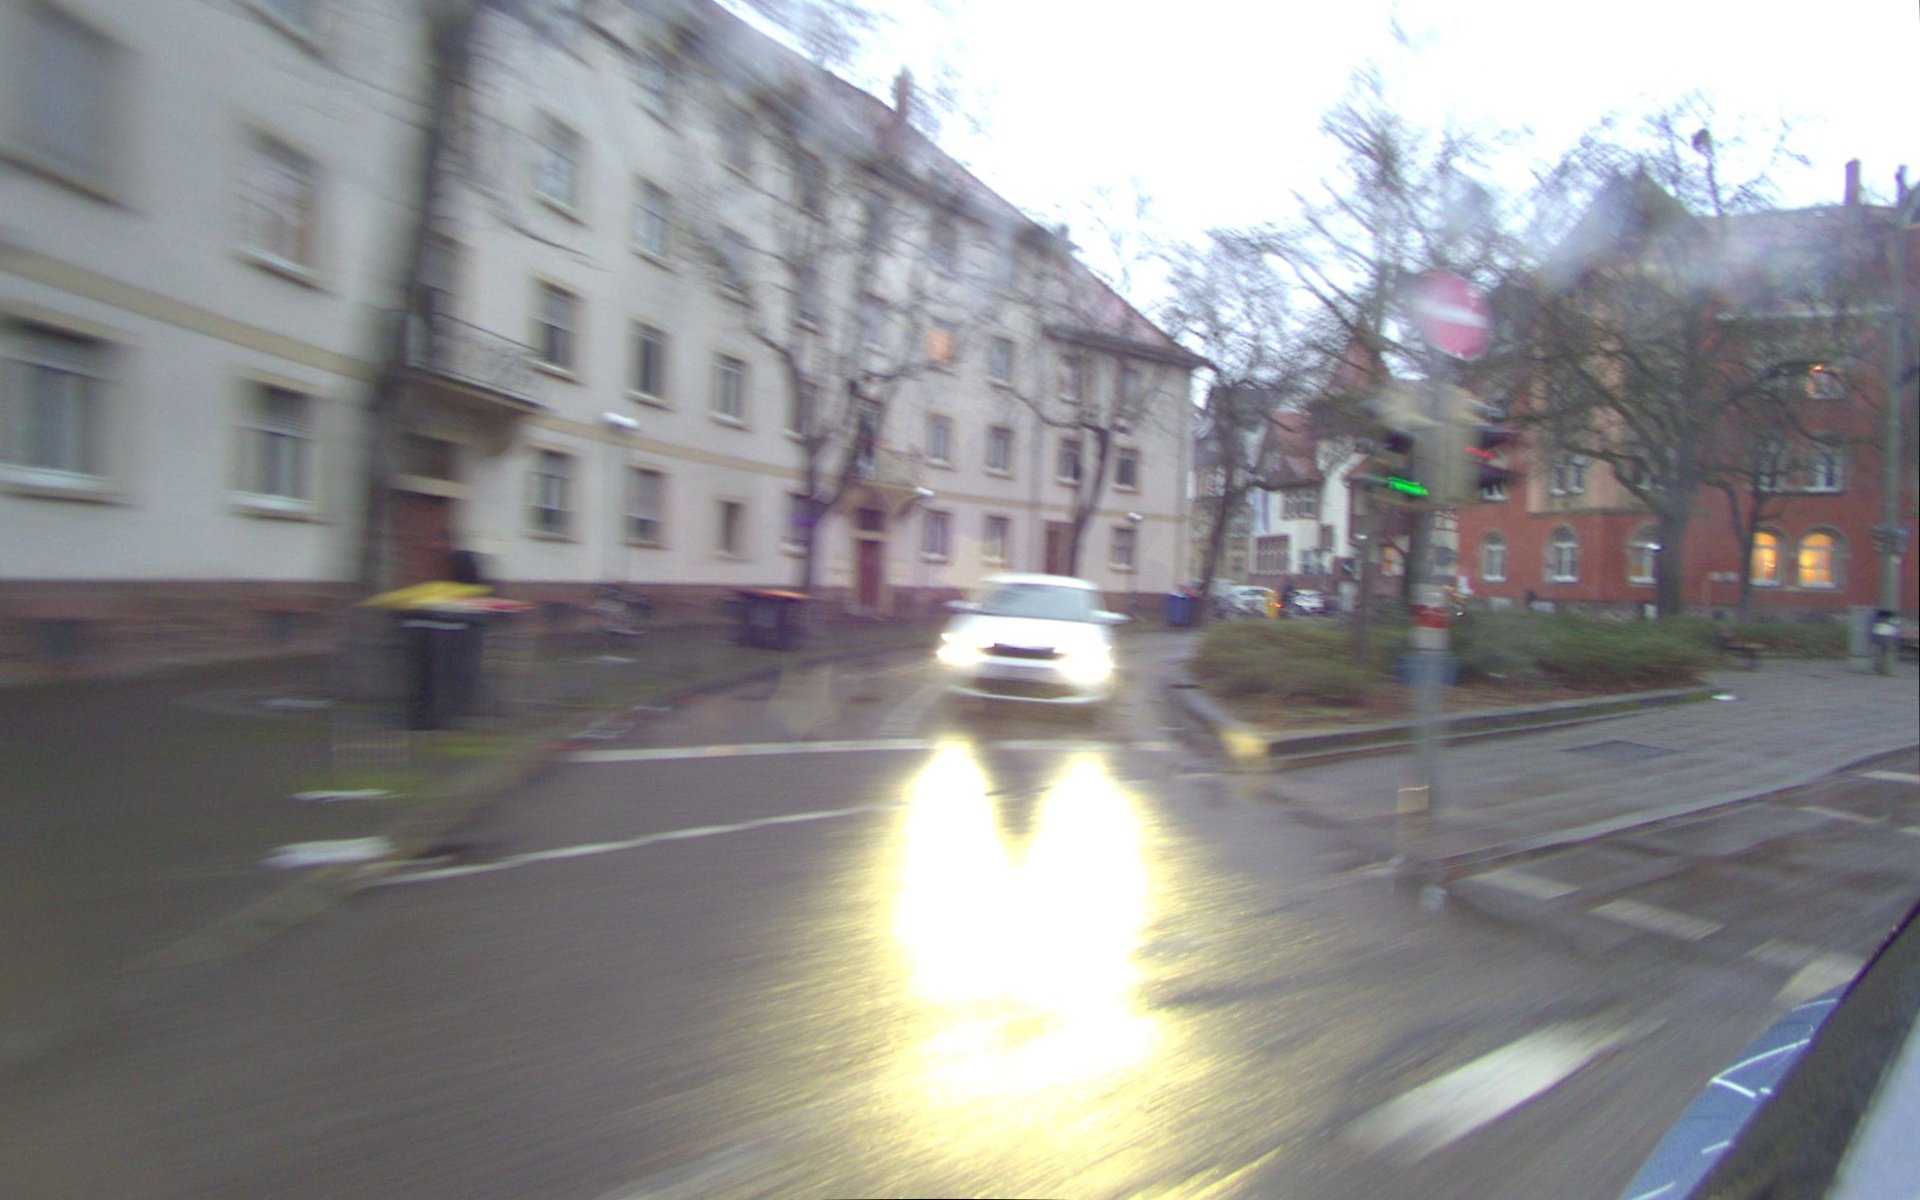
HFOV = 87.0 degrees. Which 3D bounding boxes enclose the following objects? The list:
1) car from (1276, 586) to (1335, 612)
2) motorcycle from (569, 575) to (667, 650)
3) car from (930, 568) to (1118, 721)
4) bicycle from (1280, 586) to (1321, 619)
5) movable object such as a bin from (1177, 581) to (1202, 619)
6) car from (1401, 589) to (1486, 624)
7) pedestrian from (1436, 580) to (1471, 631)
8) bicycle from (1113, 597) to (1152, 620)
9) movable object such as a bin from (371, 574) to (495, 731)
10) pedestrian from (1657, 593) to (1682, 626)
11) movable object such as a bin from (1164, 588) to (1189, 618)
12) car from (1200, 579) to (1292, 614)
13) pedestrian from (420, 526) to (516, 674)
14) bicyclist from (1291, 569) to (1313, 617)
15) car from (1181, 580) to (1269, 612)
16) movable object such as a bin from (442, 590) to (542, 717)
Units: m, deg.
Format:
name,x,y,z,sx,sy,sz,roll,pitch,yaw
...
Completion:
name,x,y,z,sx,sy,sz,roll,pitch,yaw
car,21.597,-0.097,63.398,1.613,1.415,4.009,2,1,-13
motorcycle,-5.536,0.180,16.457,0.563,1.119,1.592,5,2,21
car,1.032,0.389,13.165,1.869,1.528,4.741,3,2,10
bicycle,13.747,0.110,40.892,1.877,1.307,0.468,1,1,-33
movable object such as a bin,7.807,0.000,34.425,0.527,1.243,0.640,3,1,45
car,24.133,0.280,50.656,1.613,1.514,4.009,2,1,-13
pedestrian,19.039,0.202,39.049,0.798,1.887,0.879,2,1,-6
bicycle,5.965,0.309,34.954,1.559,0.775,0.340,1,1,-36
movable object such as a bin,-4.484,0.430,8.658,0.513,1.268,0.852,0,-2,9
pedestrian,28.820,0.385,41.127,0.596,1.333,0.548,2,-1,-13
movable object such as a bin,7.279,0.107,33.964,0.527,0.993,0.640,3,1,45
car,14.038,-0.187,49.797,3.920,1.504,1.853,2,1,-4
pedestrian,-5.856,-0.009,12.065,0.679,1.681,0.710,3,1,19
bicyclist,13.812,-0.298,40.922,0.666,1.910,0.468,1,1,-33
car,13.707,-0.216,52.432,3.920,1.494,1.853,2,1,-4
movable object such as a bin,-4.369,0.486,9.479,0.530,1.134,0.699,0,-2,10
